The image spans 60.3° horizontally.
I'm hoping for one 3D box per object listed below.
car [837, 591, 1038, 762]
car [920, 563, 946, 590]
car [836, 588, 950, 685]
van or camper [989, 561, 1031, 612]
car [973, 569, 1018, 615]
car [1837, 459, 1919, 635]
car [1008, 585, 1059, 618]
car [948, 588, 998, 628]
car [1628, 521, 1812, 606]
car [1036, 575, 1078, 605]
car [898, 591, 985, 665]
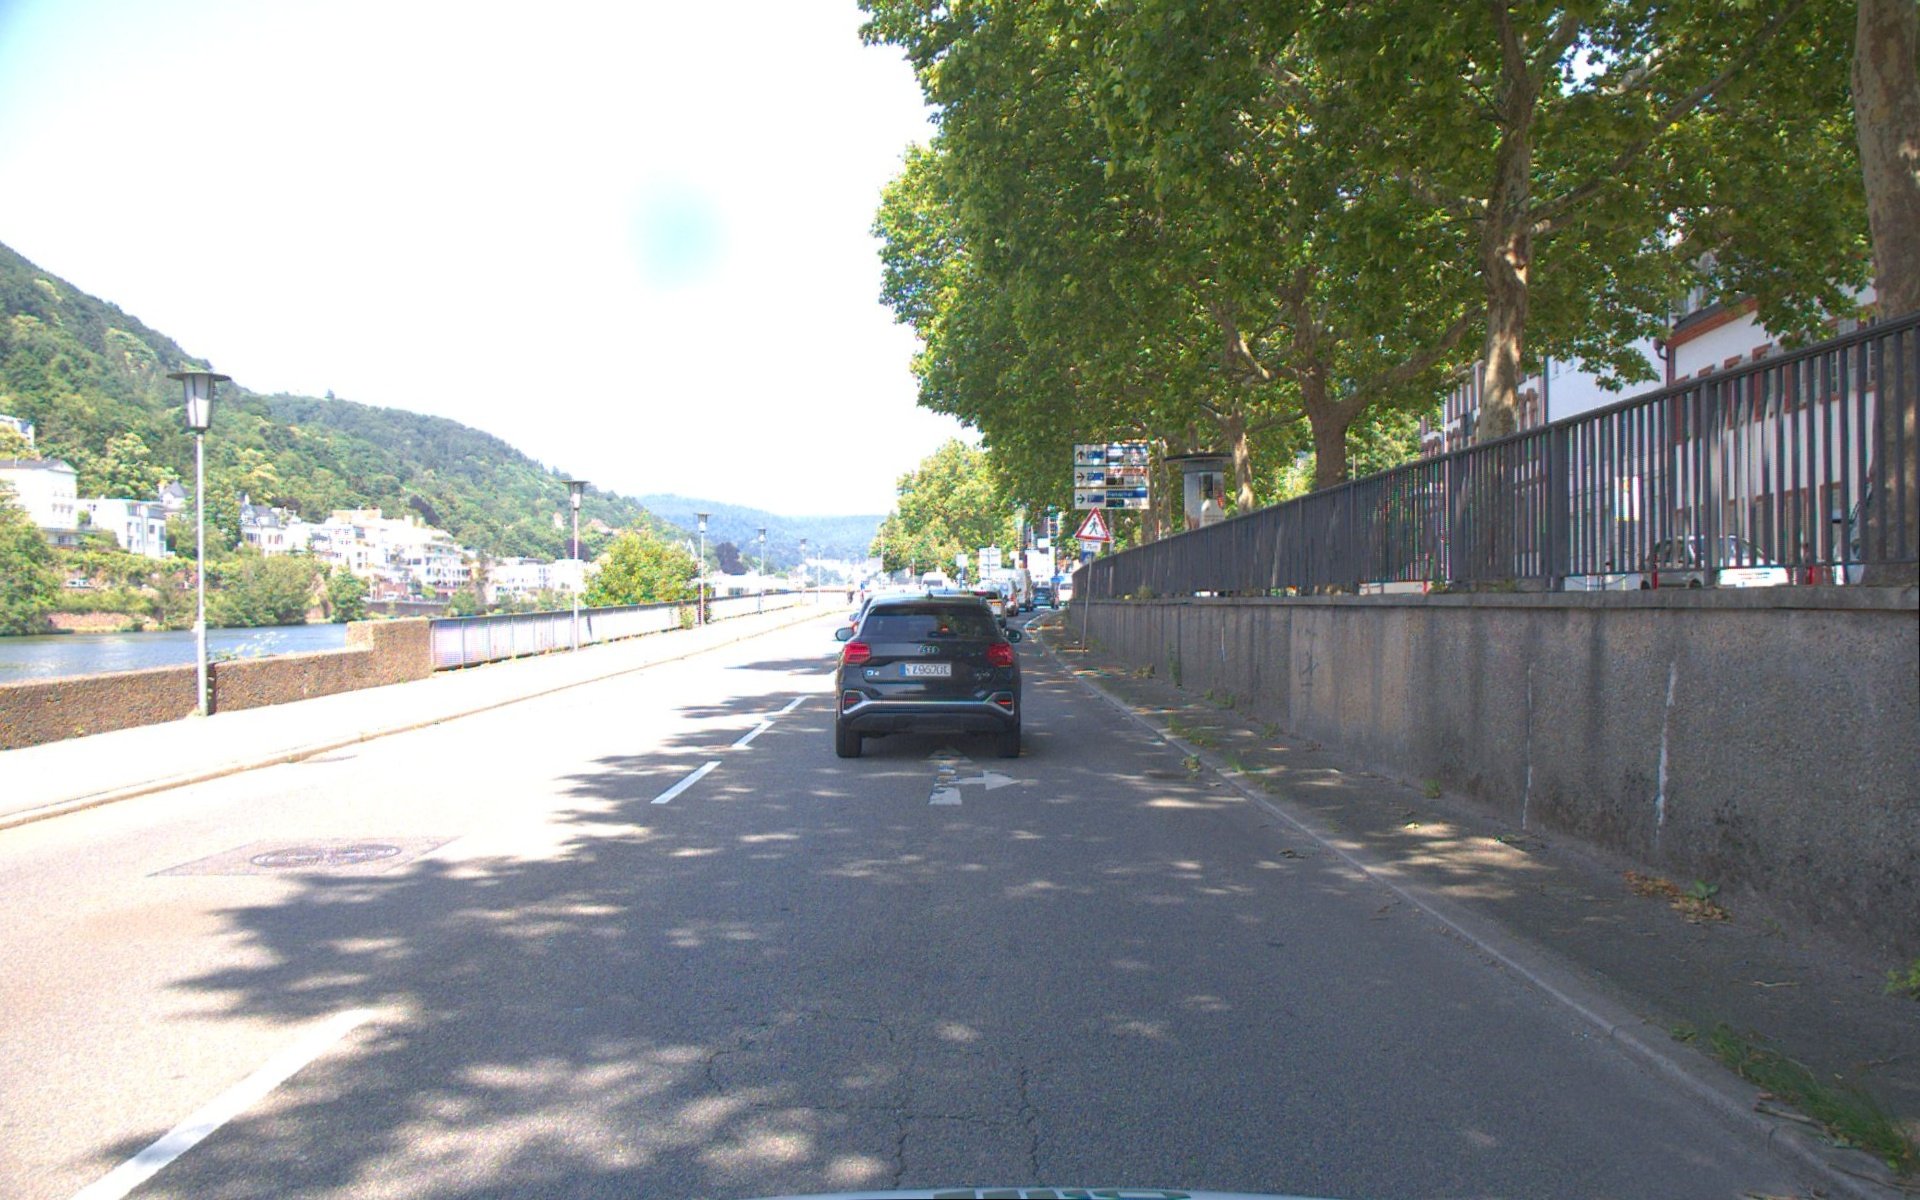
[{"bbox_3d":[-0.241,0.678,16.763,1.791,1.512,3.999,0,0,-1],"label":"car"},{"bbox_3d":[-2.214,-1.942,135.883,1.953,2.048,3.999,-3,0,-1],"label":"car"},{"bbox_3d":[-1.104,0.569,28.246,1.791,1.537,3.999,0,0,-1],"label":"car"},{"bbox_3d":[2.990,-0.793,99.731,2.263,2.896,4.246,-3,0,1],"label":"van or camper"},{"bbox_3d":[1.883,-0.431,86.190,1.952,2.207,4.003,-3,0,5],"label":"car"},{"bbox_3d":[9.341,-0.453,15.707,1.740,1.495,3.995,0,0,27],"label":"car"},{"bbox_3d":[5.062,0.090,115.015,3.036,2.048,5.823,-3,0,-1],"label":"car"},{"bbox_3d":[0.480,0.280,63.540,1.791,1.470,3.999,0,0,-1],"label":"car"},{"bbox_3d":[14.706,-0.688,32.237,1.835,1.452,3.718,-3,0,0],"label":"car"},{"bbox_3d":[7.441,-0.760,127.526,2.608,2.048,5.823,-3,0,-1],"label":"car"},{"bbox_3d":[-0.425,0.568,35.987,1.791,1.512,3.999,0,0,-1],"label":"car"}]
